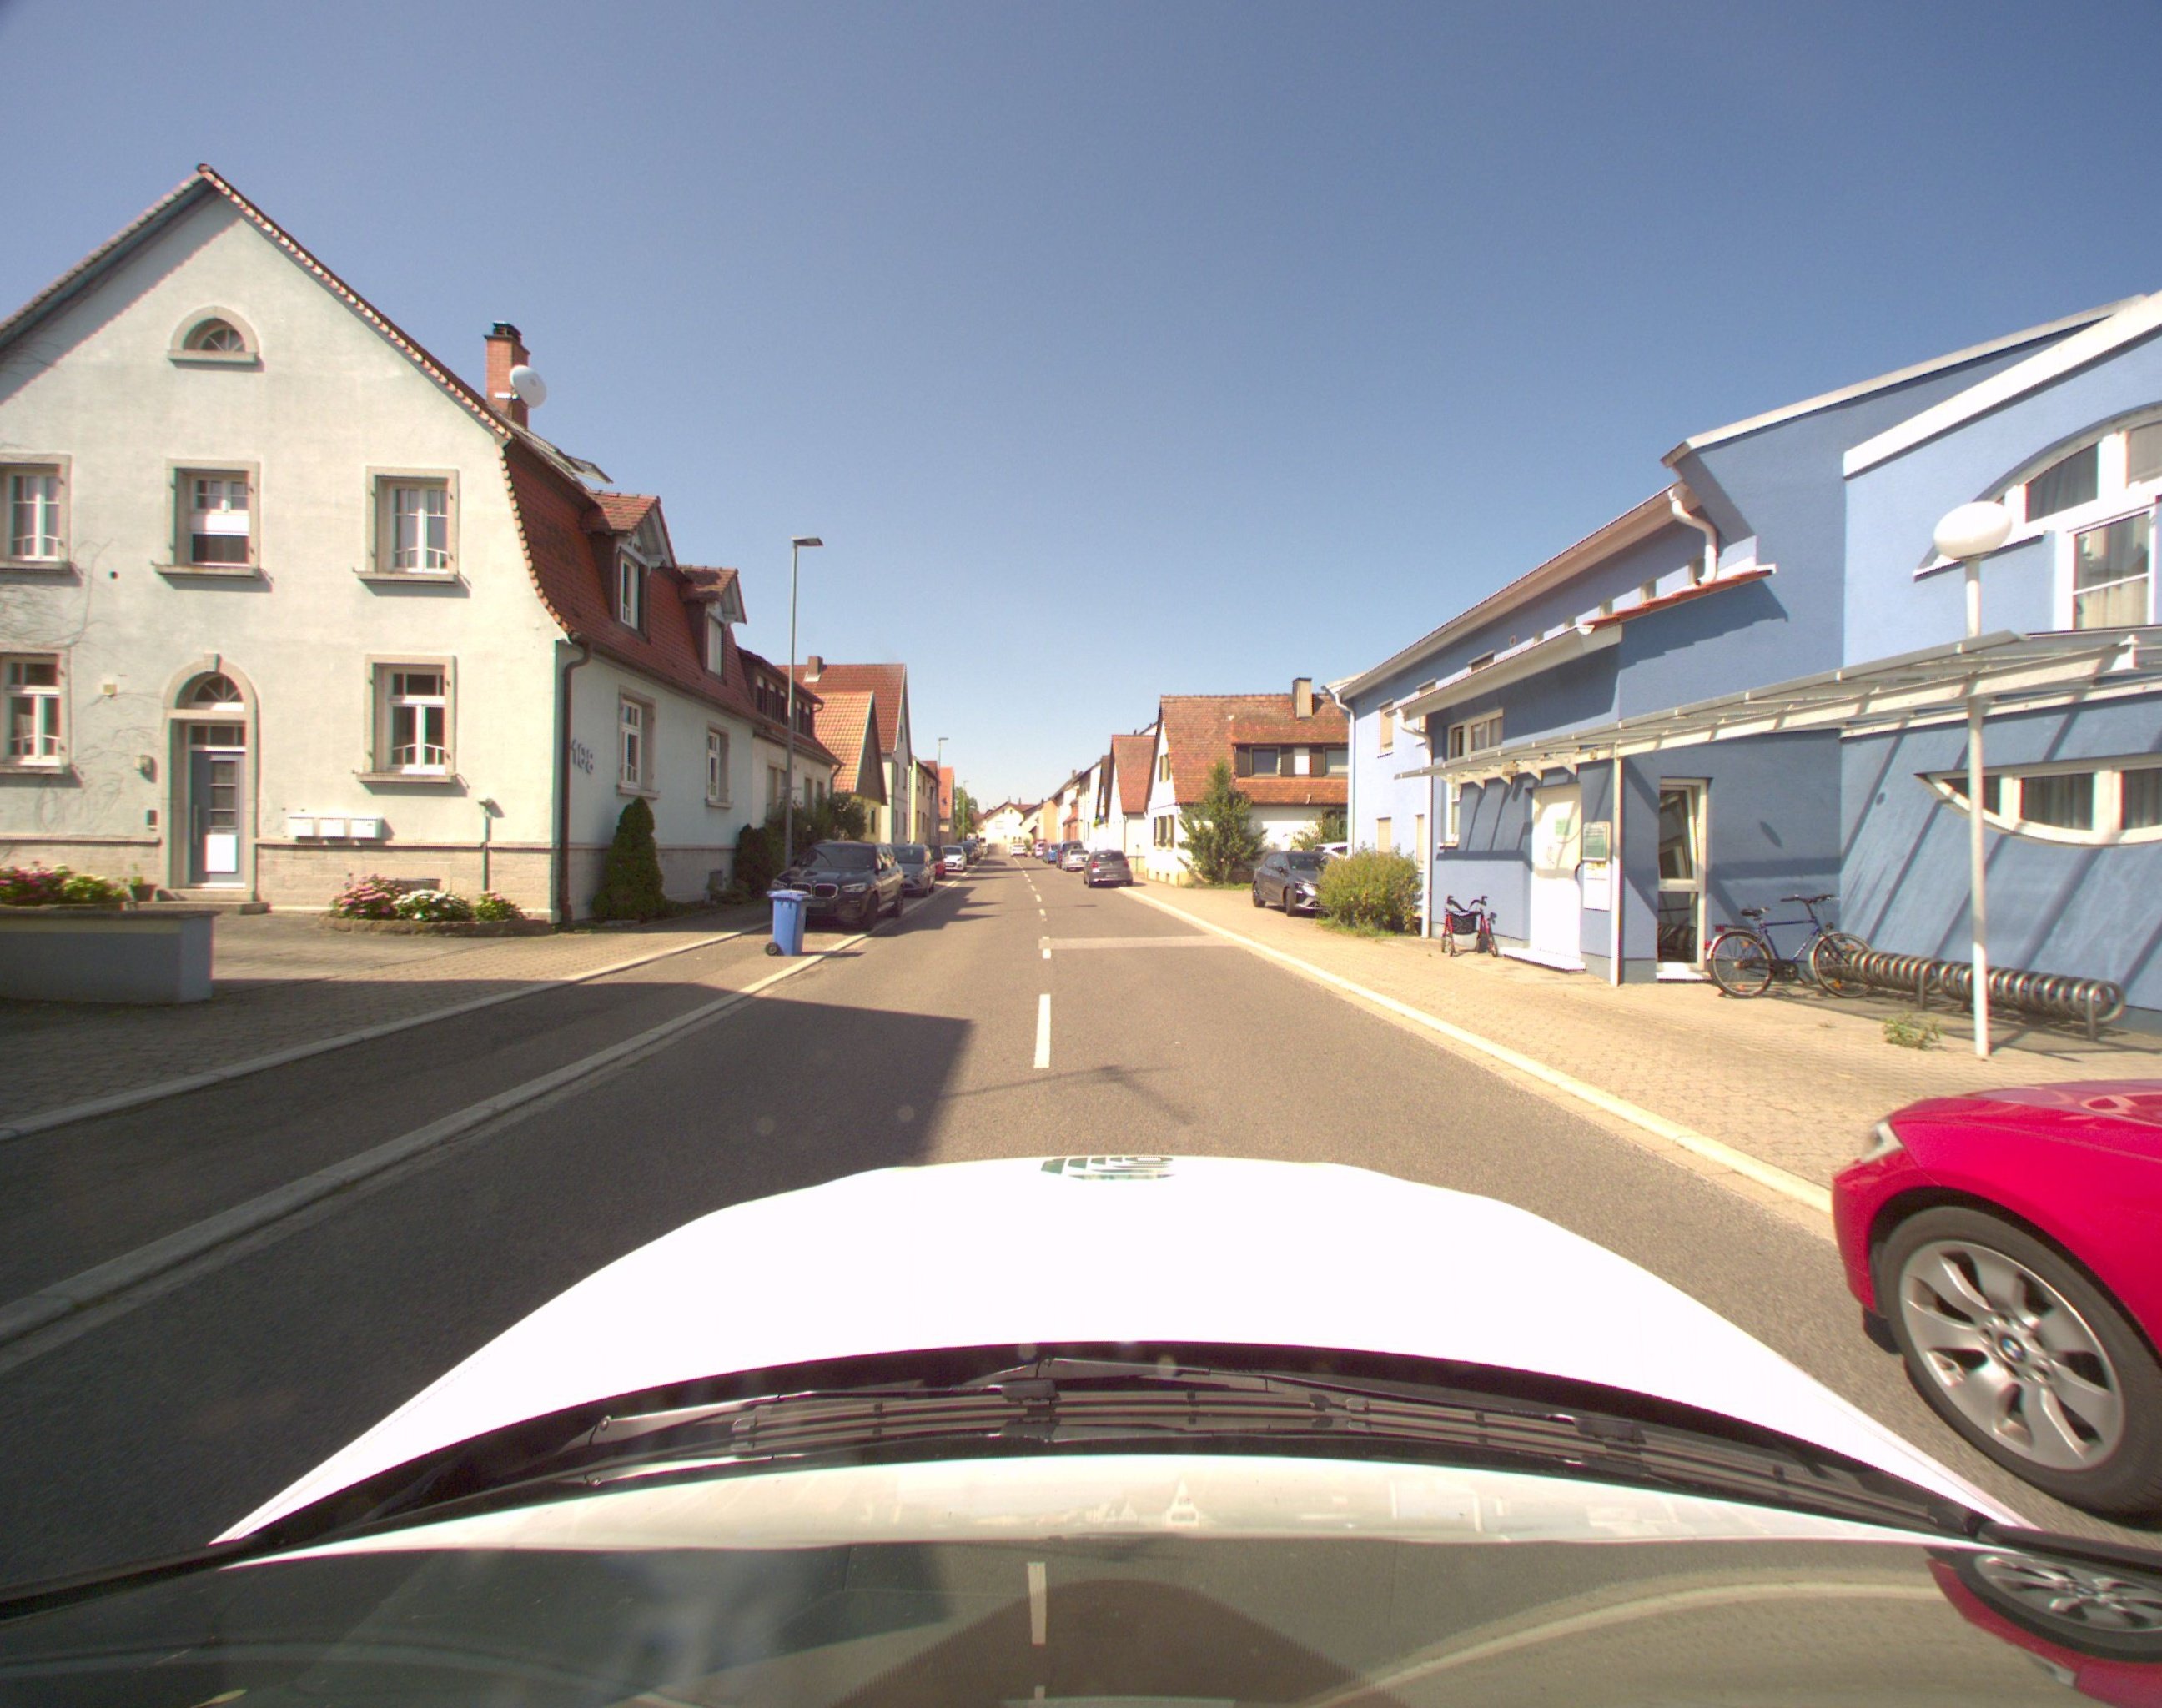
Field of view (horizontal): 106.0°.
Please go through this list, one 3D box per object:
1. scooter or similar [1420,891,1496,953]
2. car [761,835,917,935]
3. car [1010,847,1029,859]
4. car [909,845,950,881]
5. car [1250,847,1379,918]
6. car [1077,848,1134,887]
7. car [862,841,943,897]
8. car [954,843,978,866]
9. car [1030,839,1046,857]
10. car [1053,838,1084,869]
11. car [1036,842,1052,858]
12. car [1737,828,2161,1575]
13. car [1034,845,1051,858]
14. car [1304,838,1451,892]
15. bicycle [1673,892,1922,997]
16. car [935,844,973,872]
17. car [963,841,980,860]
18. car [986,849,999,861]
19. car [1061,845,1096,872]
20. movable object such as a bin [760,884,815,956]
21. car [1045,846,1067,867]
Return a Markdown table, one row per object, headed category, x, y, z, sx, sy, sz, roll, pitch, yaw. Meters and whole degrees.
| category | x | y | z | sx | sy | sz | roll | pitch | yaw |
| --- | --- | --- | --- | --- | --- | --- | --- | --- | --- |
| scooter or similar | 5.368 | 0.956 | 11.637 | 0.725 | 0.814 | 0.828 | 0 | 0 | 2 |
| car | -4.759 | 0.554 | 16.774 | 1.916 | 1.668 | 4.660 | 3 | 0 | -3 |
| car | -6.833 | -0.075 | 89.808 | 1.991 | 1.288 | 3.992 | 0 | 0 | -6 |
| car | -7.021 | 0.393 | 37.951 | 1.550 | 1.544 | 2.983 | 2 | 0 | -5 |
| car | 5.225 | 0.584 | 18.781 | 1.685 | 1.420 | 4.142 | 1 | 0 | -2 |
| car | 0.915 | 0.493 | 32.208 | 1.702 | 1.433 | 3.881 | 1 | 0 | -6 |
| car | -5.686 | 0.437 | 26.475 | 1.869 | 1.636 | 4.656 | 2 | 0 | -4 |
| car | -8.599 | 0.034 | 61.251 | 1.617 | 1.577 | 3.953 | 2 | 0 | -6 |
| car | -5.003 | -0.673 | 95.298 | 1.764 | 2.004 | 3.444 | 0 | 0 | -5 |
| car | -0.859 | -0.029 | 53.652 | 1.647 | 1.910 | 3.618 | 2 | 0 | -6 |
| car | -3.745 | -0.408 | 82.157 | 1.418 | 1.515 | 3.297 | 2 | 0 | -6 |
| car | 3.038 | 0.739 | 0.548 | 1.727 | 1.494 | 4.355 | -1 | 2 | 0 |
| car | -4.266 | -0.302 | 90.539 | 1.764 | 1.433 | 3.444 | 0 | 0 | -5 |
| car | 9.600 | 0.343 | 26.548 | 4.160 | 1.657 | 1.812 | 0 | 0 | 0 |
| bicycle | 7.179 | 0.893 | 8.212 | 1.948 | 0.981 | 0.656 | 0 | 0 | 0 |
| car | -7.444 | 0.218 | 47.954 | 1.803 | 1.547 | 4.397 | 2 | 0 | -5 |
| car | -10.400 | -0.305 | 77.474 | 1.525 | 1.713 | 3.618 | 2 | 0 | -6 |
| car | -11.634 | 0.065 | 106.991 | 1.599 | 1.489 | 3.618 | 2 | 0 | -6 |
| car | -0.205 | 0.251 | 48.697 | 1.702 | 1.496 | 3.445 | 2 | 0 | -6 |
| movable object such as a bin | -4.253 | 0.950 | 11.839 | 0.595 | 0.982 | 0.530 | 2 | 0 | -4 |
| car | -1.986 | 0.183 | 64.547 | 1.418 | 1.515 | 3.297 | 2 | 0 | -6 |
